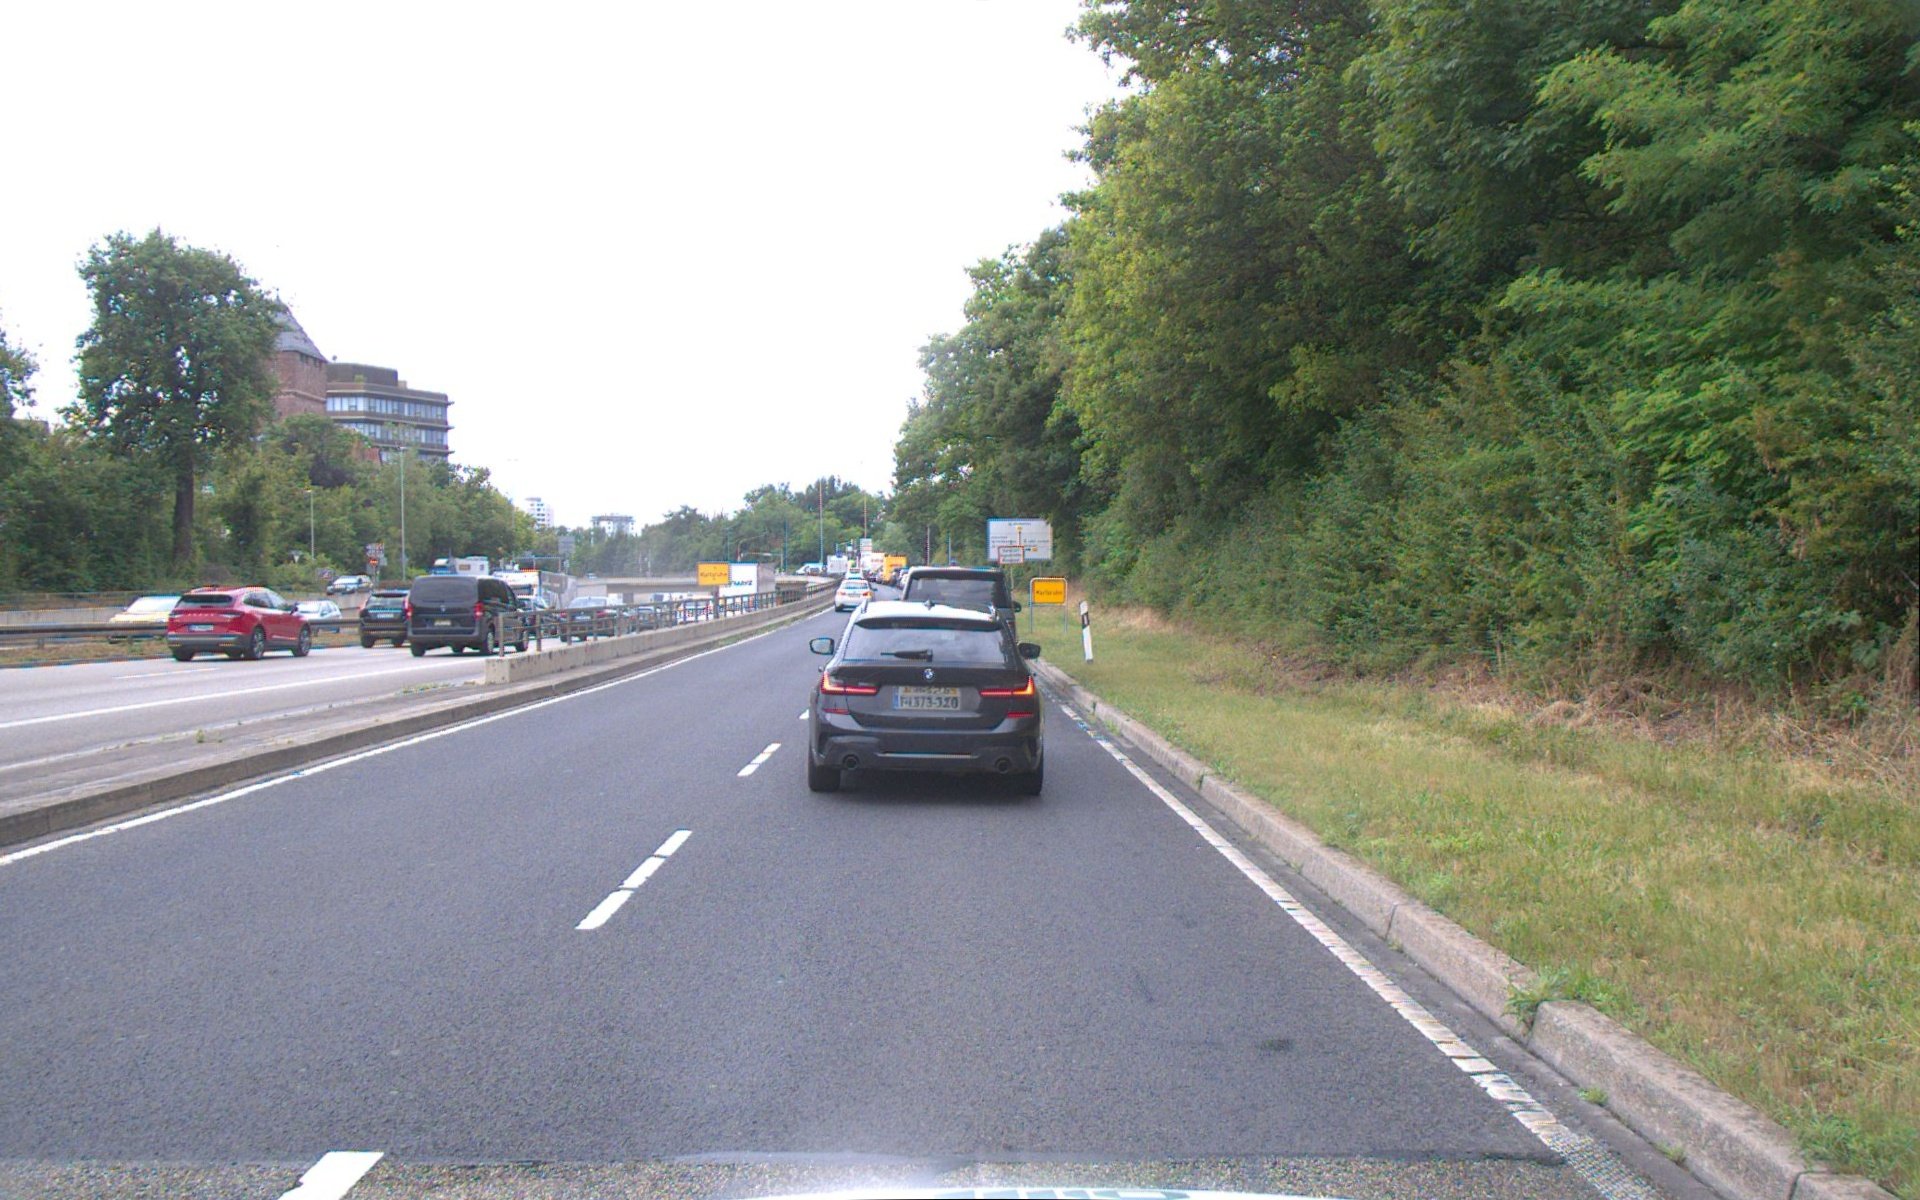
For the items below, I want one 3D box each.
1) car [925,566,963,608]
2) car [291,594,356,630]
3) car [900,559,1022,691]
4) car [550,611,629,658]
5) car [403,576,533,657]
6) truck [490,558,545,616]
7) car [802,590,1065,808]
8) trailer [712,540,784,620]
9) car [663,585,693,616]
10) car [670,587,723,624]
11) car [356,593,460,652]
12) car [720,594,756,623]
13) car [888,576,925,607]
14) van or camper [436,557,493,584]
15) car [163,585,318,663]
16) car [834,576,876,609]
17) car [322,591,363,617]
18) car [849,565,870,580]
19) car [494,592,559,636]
[{"bbox_3d":[-0.642,-0.496,63.844,1.423,1.567,3.224,0,0,-1],"label":"car"},{"bbox_3d":[-28.090,0.510,73.126,1.564,1.516,3.624,0,0,-2],"label":"car"},{"bbox_3d":[-0.008,0.355,25.966,1.759,1.904,3.999,0,0,-1],"label":"car"},{"bbox_3d":[-12.601,1.149,56.478,1.678,1.482,4.666,0,0,0],"label":"car"},{"bbox_3d":[-12.031,0.373,40.789,1.953,1.883,4.809,0,0,-3],"label":"car"},{"bbox_3d":[-30.202,-0.886,113.115,2.540,3.834,4.777,0,0,-1],"label":"truck"},{"bbox_3d":[-0.269,0.680,13.492,1.809,1.492,3.998,1,0,-3],"label":"car"},{"bbox_3d":[-13.758,-1.261,108.421,3.069,4.807,14.554,1,0,-1],"label":"trailer"},{"bbox_3d":[-19.036,-0.001,111.879,1.414,2.080,3.680,0,0,0],"label":"car"},{"bbox_3d":[-12.775,0.233,80.536,1.906,1.721,4.506,0,0,-1],"label":"car"},{"bbox_3d":[-16.741,0.642,50.337,1.852,1.711,4.304,0,0,-2],"label":"car"},{"bbox_3d":[-12.646,0.464,94.421,1.733,1.577,3.491,0,0,-2],"label":"car"},{"bbox_3d":[-2.698,-0.439,83.069,1.821,1.489,4.532,1,0,-2],"label":"car"},{"bbox_3d":[-52.777,-3.104,176.332,1.889,2.683,5.622,1,0,45],"label":"van or camper"},{"bbox_3d":[-16.371,0.506,37.861,1.716,1.664,4.266,0,0,-1],"label":"car"},{"bbox_3d":[-4.975,-0.357,78.813,1.821,1.489,4.883,1,0,-2],"label":"car"},{"bbox_3d":[-38.513,0.228,103.154,1.319,1.551,3.369,0,0,-1],"label":"car"},{"bbox_3d":[-11.049,-3.048,182.169,1.895,1.624,3.868,0,0,-9],"label":"car"},{"bbox_3d":[-17.133,0.519,65.507,1.653,1.636,4.006,1,0,-2],"label":"car"}]
